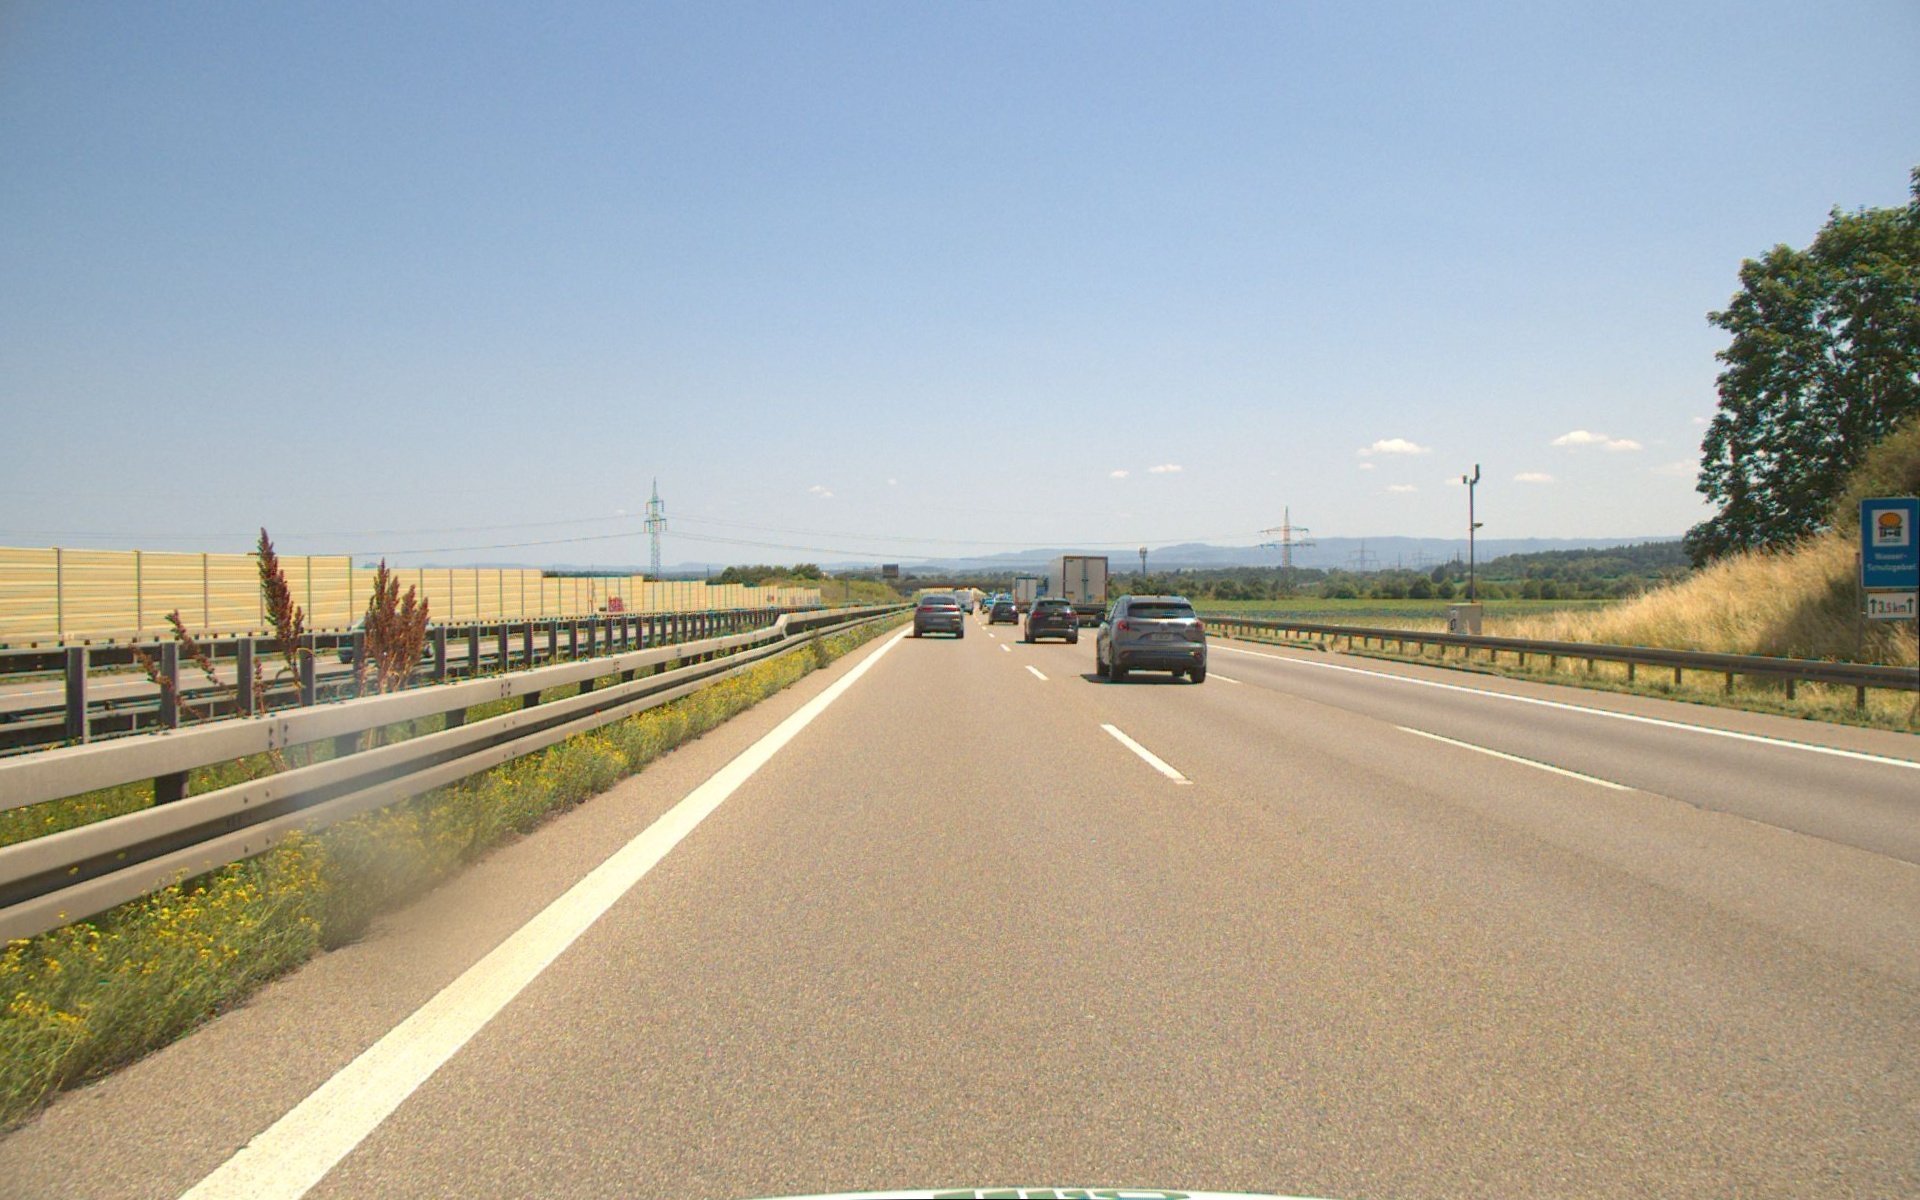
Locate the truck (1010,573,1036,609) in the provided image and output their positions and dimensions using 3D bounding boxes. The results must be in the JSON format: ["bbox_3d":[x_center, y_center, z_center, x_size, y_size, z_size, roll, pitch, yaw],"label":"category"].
[{"bbox_3d":[7.564,-1.061,199.467,2.917,4.301,7.688,1,0,1],"label":"truck"}]

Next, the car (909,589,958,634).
[{"bbox_3d":[-1.055,0.453,64.654,1.814,1.693,3.733,1,0,-2],"label":"car"}]

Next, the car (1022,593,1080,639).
[{"bbox_3d":[3.241,0.559,59.717,1.760,1.589,3.822,1,0,-2],"label":"car"}]

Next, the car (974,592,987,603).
[{"bbox_3d":[3.109,-0.382,247.541,1.952,1.712,4.001,1,0,1],"label":"car"}]

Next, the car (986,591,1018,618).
[{"bbox_3d":[2.566,0.263,102.626,1.893,1.602,4.935,1,0,1],"label":"car"}]

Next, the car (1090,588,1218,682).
[{"bbox_3d":[3.699,0.650,32.303,1.814,1.677,4.643,1,0,-2],"label":"car"}]

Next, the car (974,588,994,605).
[{"bbox_3d":[2.498,-0.312,171.884,1.952,1.712,4.001,1,0,1],"label":"car"}]

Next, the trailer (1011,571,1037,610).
[{"bbox_3d":[7.414,-1.056,193.062,2.882,4.271,13.598,1,0,1],"label":"trailer"}]

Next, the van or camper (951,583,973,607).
[{"bbox_3d":[0.219,-0.454,162.122,2.067,2.250,5.266,1,0,1],"label":"van or camper"}]

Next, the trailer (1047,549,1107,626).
[{"bbox_3d":[6.974,-0.681,100.129,2.809,4.294,13.295,1,0,1],"label":"trailer"}]

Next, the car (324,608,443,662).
[{"bbox_3d":[-17.404,1.021,50.181,1.953,1.489,4.812,-1,0,-1],"label":"car"}]
